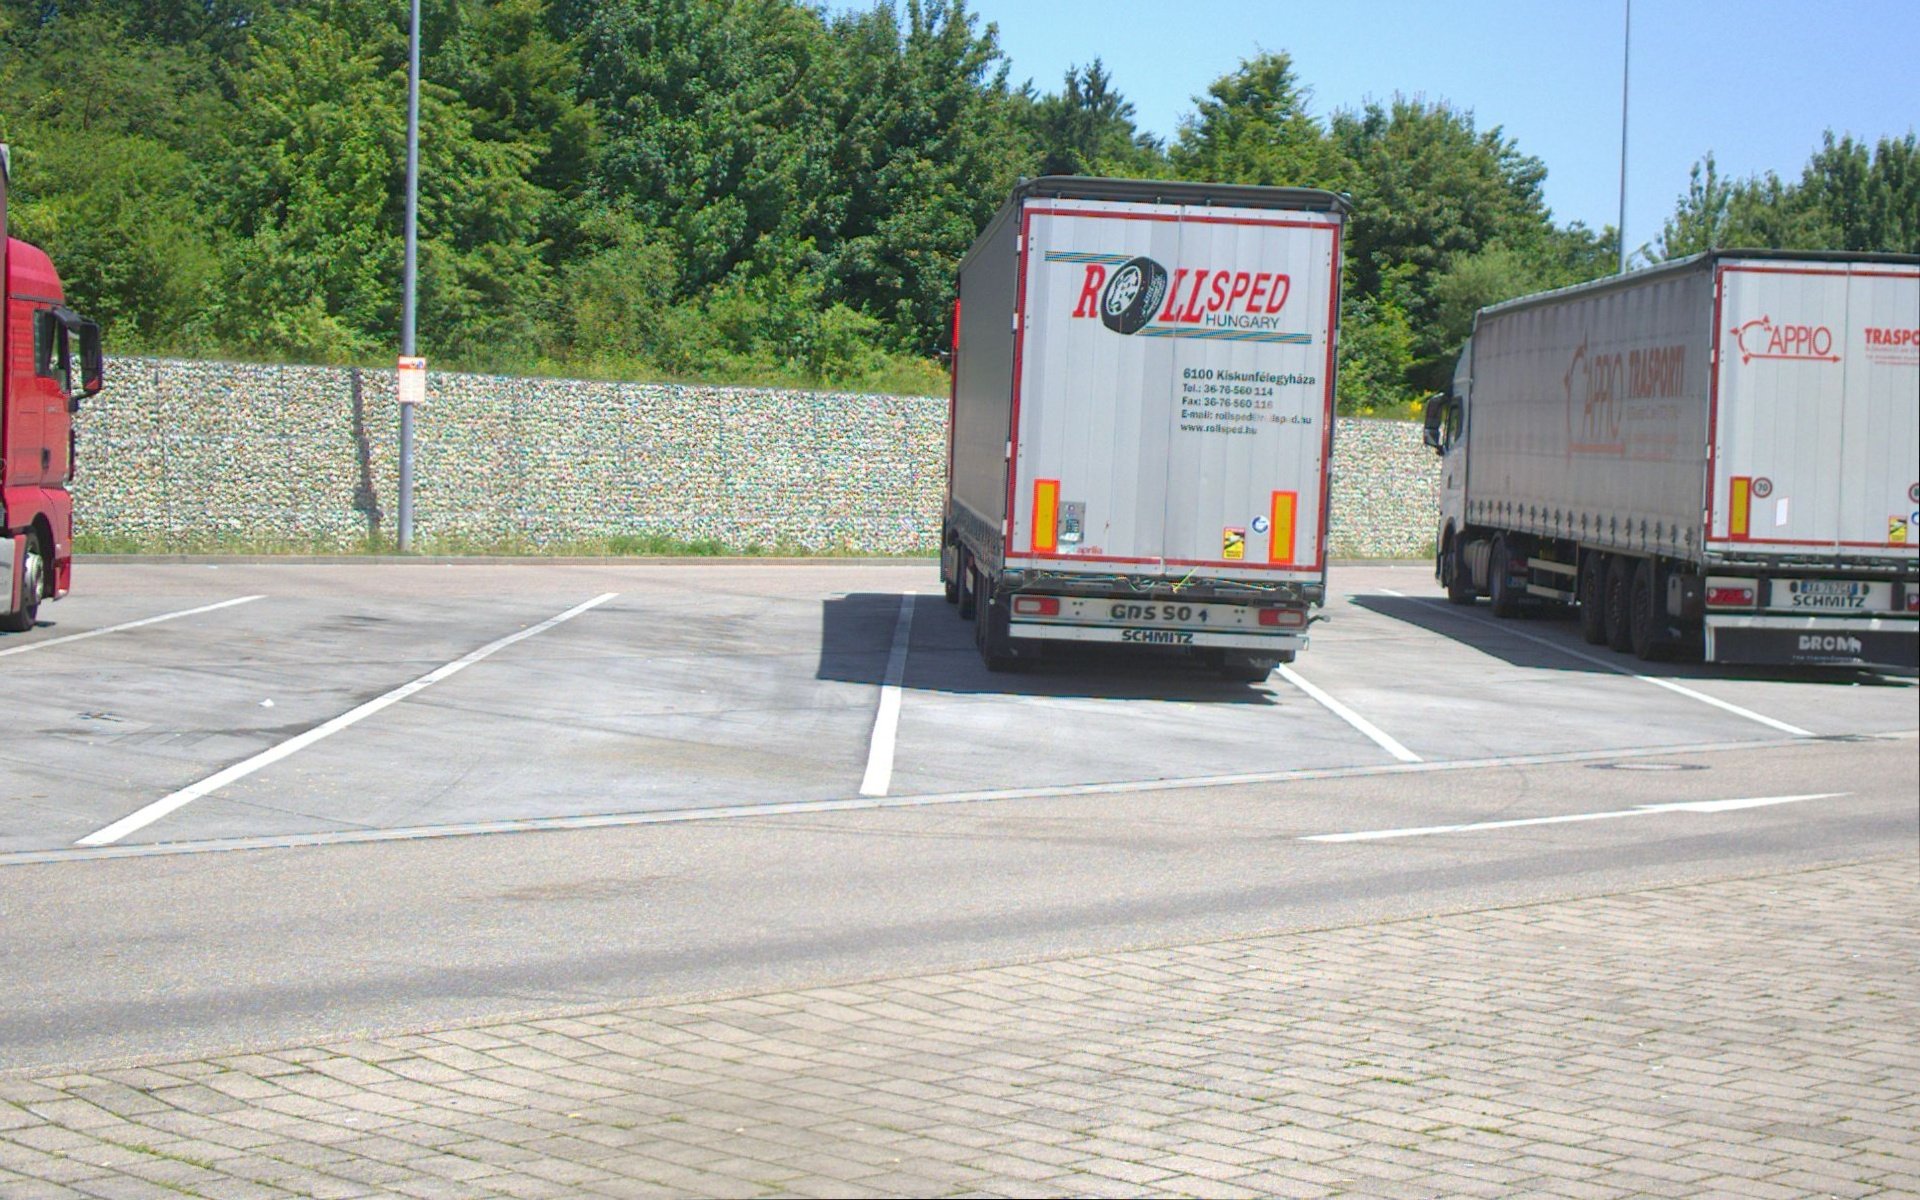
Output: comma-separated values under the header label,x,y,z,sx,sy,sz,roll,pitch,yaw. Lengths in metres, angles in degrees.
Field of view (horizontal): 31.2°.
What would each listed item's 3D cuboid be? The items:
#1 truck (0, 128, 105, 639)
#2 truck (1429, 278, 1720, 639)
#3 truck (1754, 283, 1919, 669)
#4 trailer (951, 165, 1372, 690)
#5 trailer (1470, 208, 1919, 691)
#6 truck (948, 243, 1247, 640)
label,x,y,z,sx,sy,sz,roll,pitch,yaw
truck,-9.167,-1.779,28.374,2.805,4.119,5.894,1,2,-1
truck,7.985,-1.838,45.396,2.661,4.437,5.864,1,2,-1
truck,11.737,-1.348,38.795,2.587,4.211,11.971,1,1,-1
trailer,1.532,-1.505,32.078,2.897,4.000,11.319,1,2,-2
trailer,8.121,-1.586,38.199,2.681,4.437,12.831,1,2,-1
truck,1.376,-1.695,37.681,2.871,3.967,6.030,1,2,-1
